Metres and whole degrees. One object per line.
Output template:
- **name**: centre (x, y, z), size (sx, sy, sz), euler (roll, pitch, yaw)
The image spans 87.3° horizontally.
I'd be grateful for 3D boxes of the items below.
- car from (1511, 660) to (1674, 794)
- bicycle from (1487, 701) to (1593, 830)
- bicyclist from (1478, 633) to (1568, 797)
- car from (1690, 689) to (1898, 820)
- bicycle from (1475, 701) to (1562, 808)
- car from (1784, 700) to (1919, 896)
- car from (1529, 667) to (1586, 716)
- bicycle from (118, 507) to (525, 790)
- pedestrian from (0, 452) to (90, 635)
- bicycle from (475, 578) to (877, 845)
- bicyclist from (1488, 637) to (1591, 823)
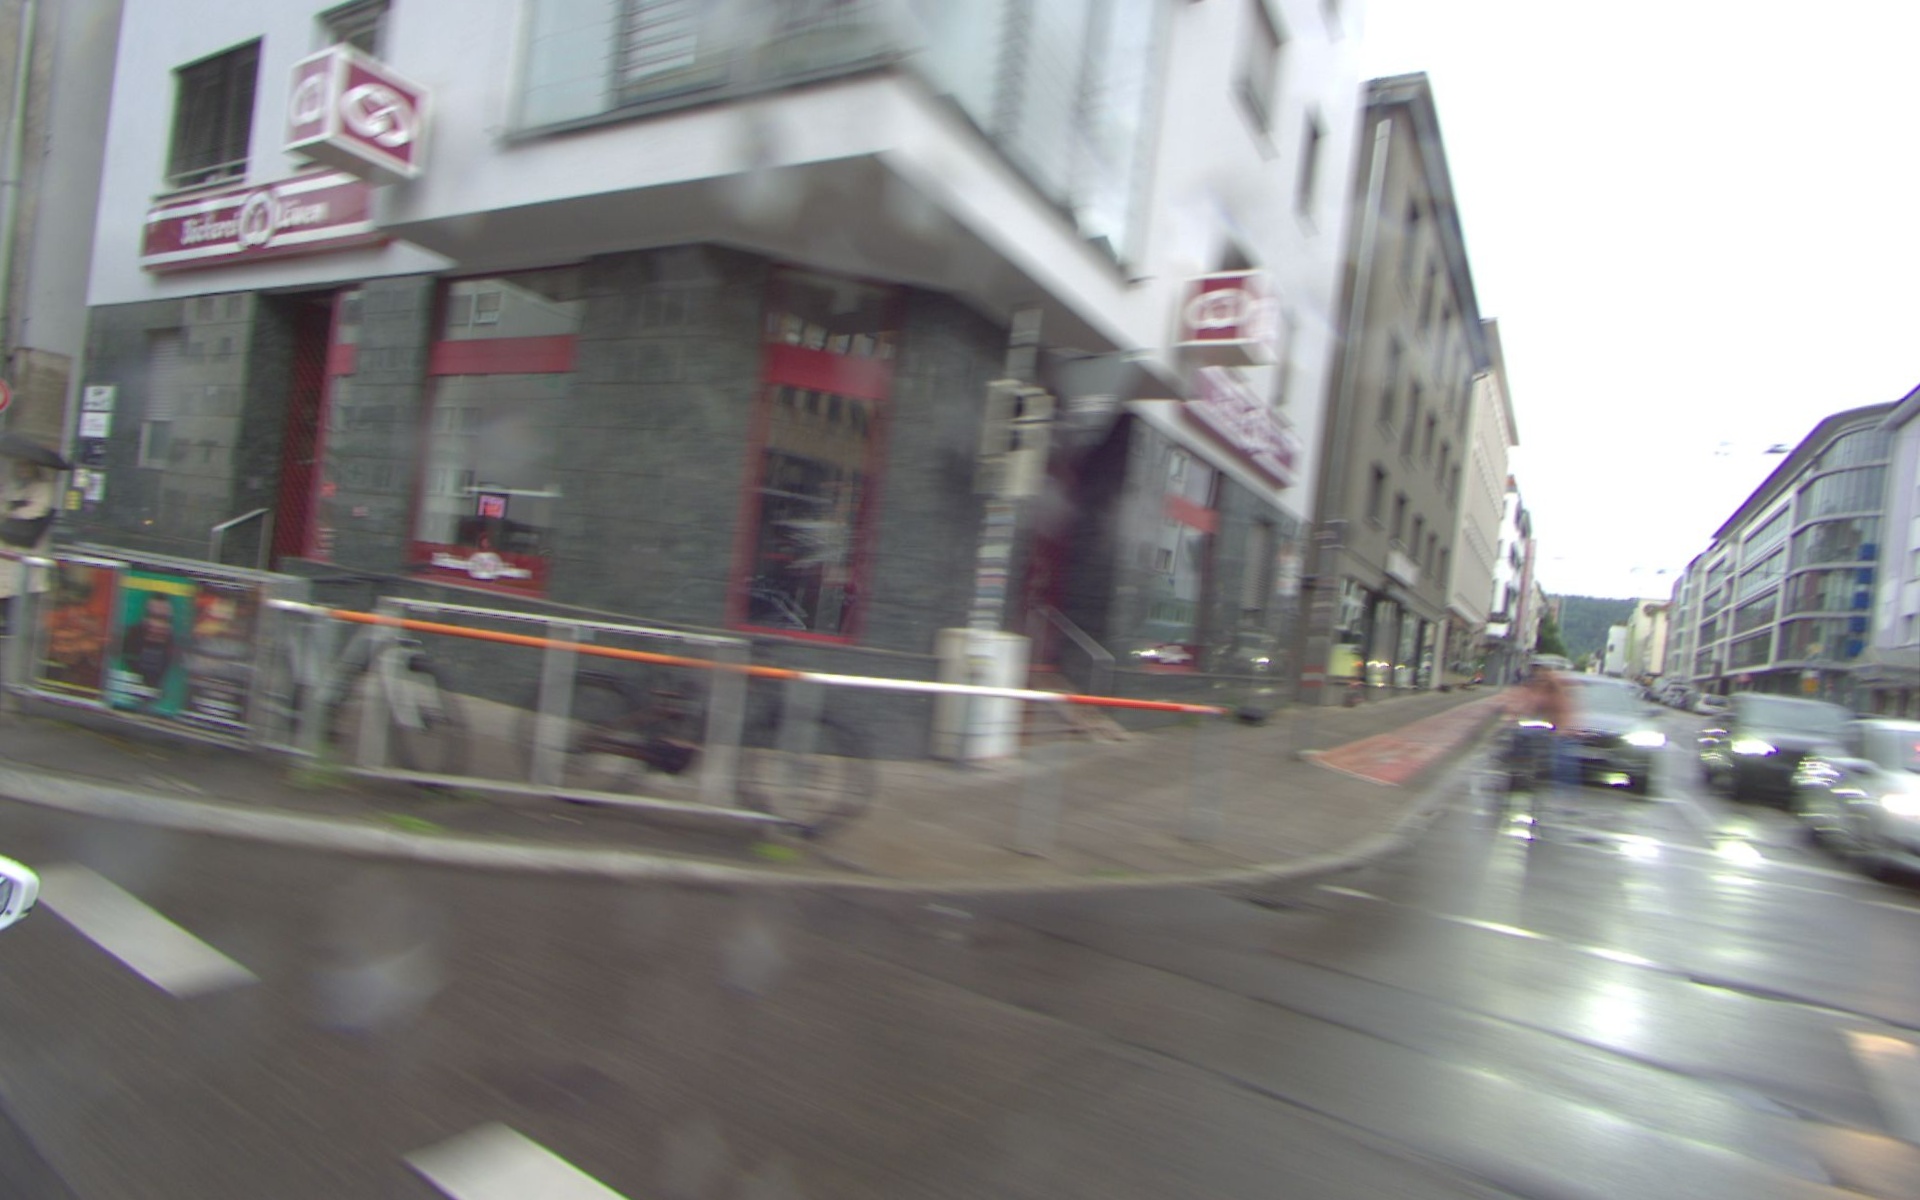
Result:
- **car**: centre (10.097, 1.942, 16.259), size (1.849, 1.660, 4.083), euler (6, -1, 30)
- **bicycle**: centre (5.761, 1.581, 10.034), size (0.743, 1.023, 1.928), euler (6, -1, 30)
- **bicyclist**: centre (6.689, 1.345, 11.964), size (0.744, 1.813, 0.634), euler (6, 0, 30)
- **car**: centre (12.713, 2.252, 15.608), size (1.694, 1.505, 4.083), euler (6, -1, 30)
- **bicycle**: centre (6.580, 1.763, 11.860), size (0.743, 1.023, 1.983), euler (6, -1, 30)
- **car**: centre (9.429, 1.853, 9.593), size (1.694, 1.505, 3.972), euler (6, -1, 30)
- **car**: centre (24.073, 3.652, 40.623), size (1.748, 1.660, 4.083), euler (6, -1, 30)
- **bicycle**: centre (-3.509, 0.251, 5.569), size (1.919, 1.274, 0.499), euler (6, 0, 7)
- **pedestrian**: centre (-8.683, -0.518, 9.194), size (0.764, 1.602, 0.662), euler (6, 0, 10)
- **bicycle**: centre (-1.475, 0.593, 5.485), size (1.921, 1.171, 0.578), euler (7, -1, -5)
- **bicyclist**: centre (6.040, 1.321, 10.505), size (0.744, 1.768, 0.841), euler (6, 0, 30)
